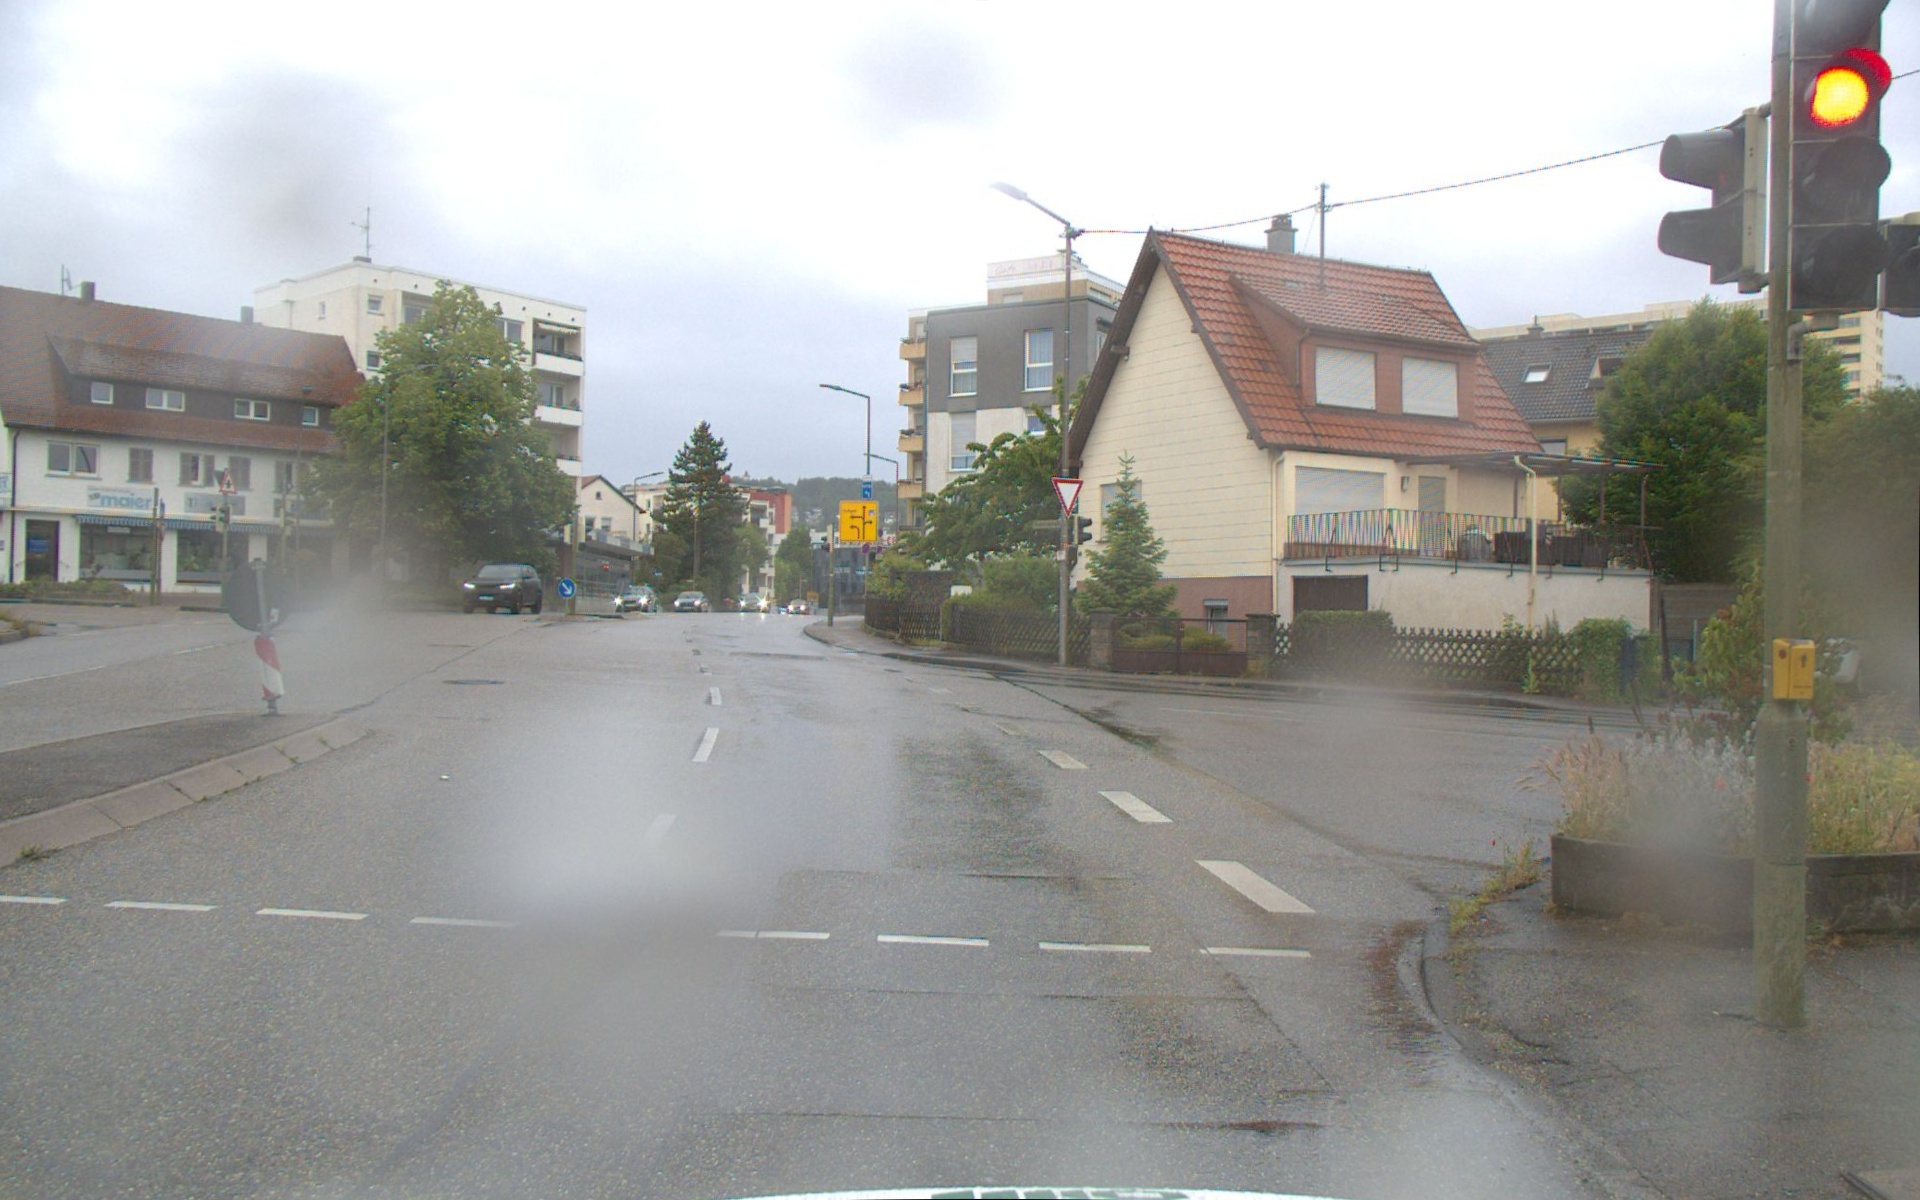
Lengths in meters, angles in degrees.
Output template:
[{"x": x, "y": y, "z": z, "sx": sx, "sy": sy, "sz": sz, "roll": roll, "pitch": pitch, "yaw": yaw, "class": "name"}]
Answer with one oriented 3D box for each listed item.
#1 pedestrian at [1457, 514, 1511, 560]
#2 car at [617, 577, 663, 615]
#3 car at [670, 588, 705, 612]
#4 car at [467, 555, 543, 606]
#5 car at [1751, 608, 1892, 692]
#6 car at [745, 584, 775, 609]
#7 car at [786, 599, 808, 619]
[{"x": 11.146, "y": -1.332, "z": 35.183, "sx": 0.902, "sy": 0.898, "sz": 0.632, "roll": 1, "pitch": -2, "yaw": -20, "class": "pedestrian"}, {"x": -16.765, "y": -0.195, "z": 86.801, "sx": 1.955, "sy": 1.937, "sz": 3.995, "roll": 1, "pitch": 0, "yaw": -5, "class": "car"}, {"x": -17.746, "y": 0.017, "z": 107.918, "sx": 1.955, "sy": 1.489, "sz": 3.995, "roll": 1, "pitch": 0, "yaw": -5, "class": "car"}, {"x": -16.806, "y": -0.685, "z": 61.324, "sx": 1.956, "sy": 1.768, "sz": 5.173, "roll": 1, "pitch": 0, "yaw": -7, "class": "car"}, {"x": 15.616, "y": 0.869, "z": 29.882, "sx": 1.780, "sy": 1.386, "sz": 3.986, "roll": 1, "pitch": 0, "yaw": 35, "class": "car"}, {"x": -14.167, "y": -0.220, "z": 117.419, "sx": 1.955, "sy": 1.708, "sz": 3.995, "roll": 1, "pitch": 0, "yaw": -5, "class": "car"}, {"x": -15.286, "y": 0.860, "z": 155.269, "sx": 1.955, "sy": 1.843, "sz": 3.995, "roll": 1, "pitch": 0, "yaw": -5, "class": "car"}]
